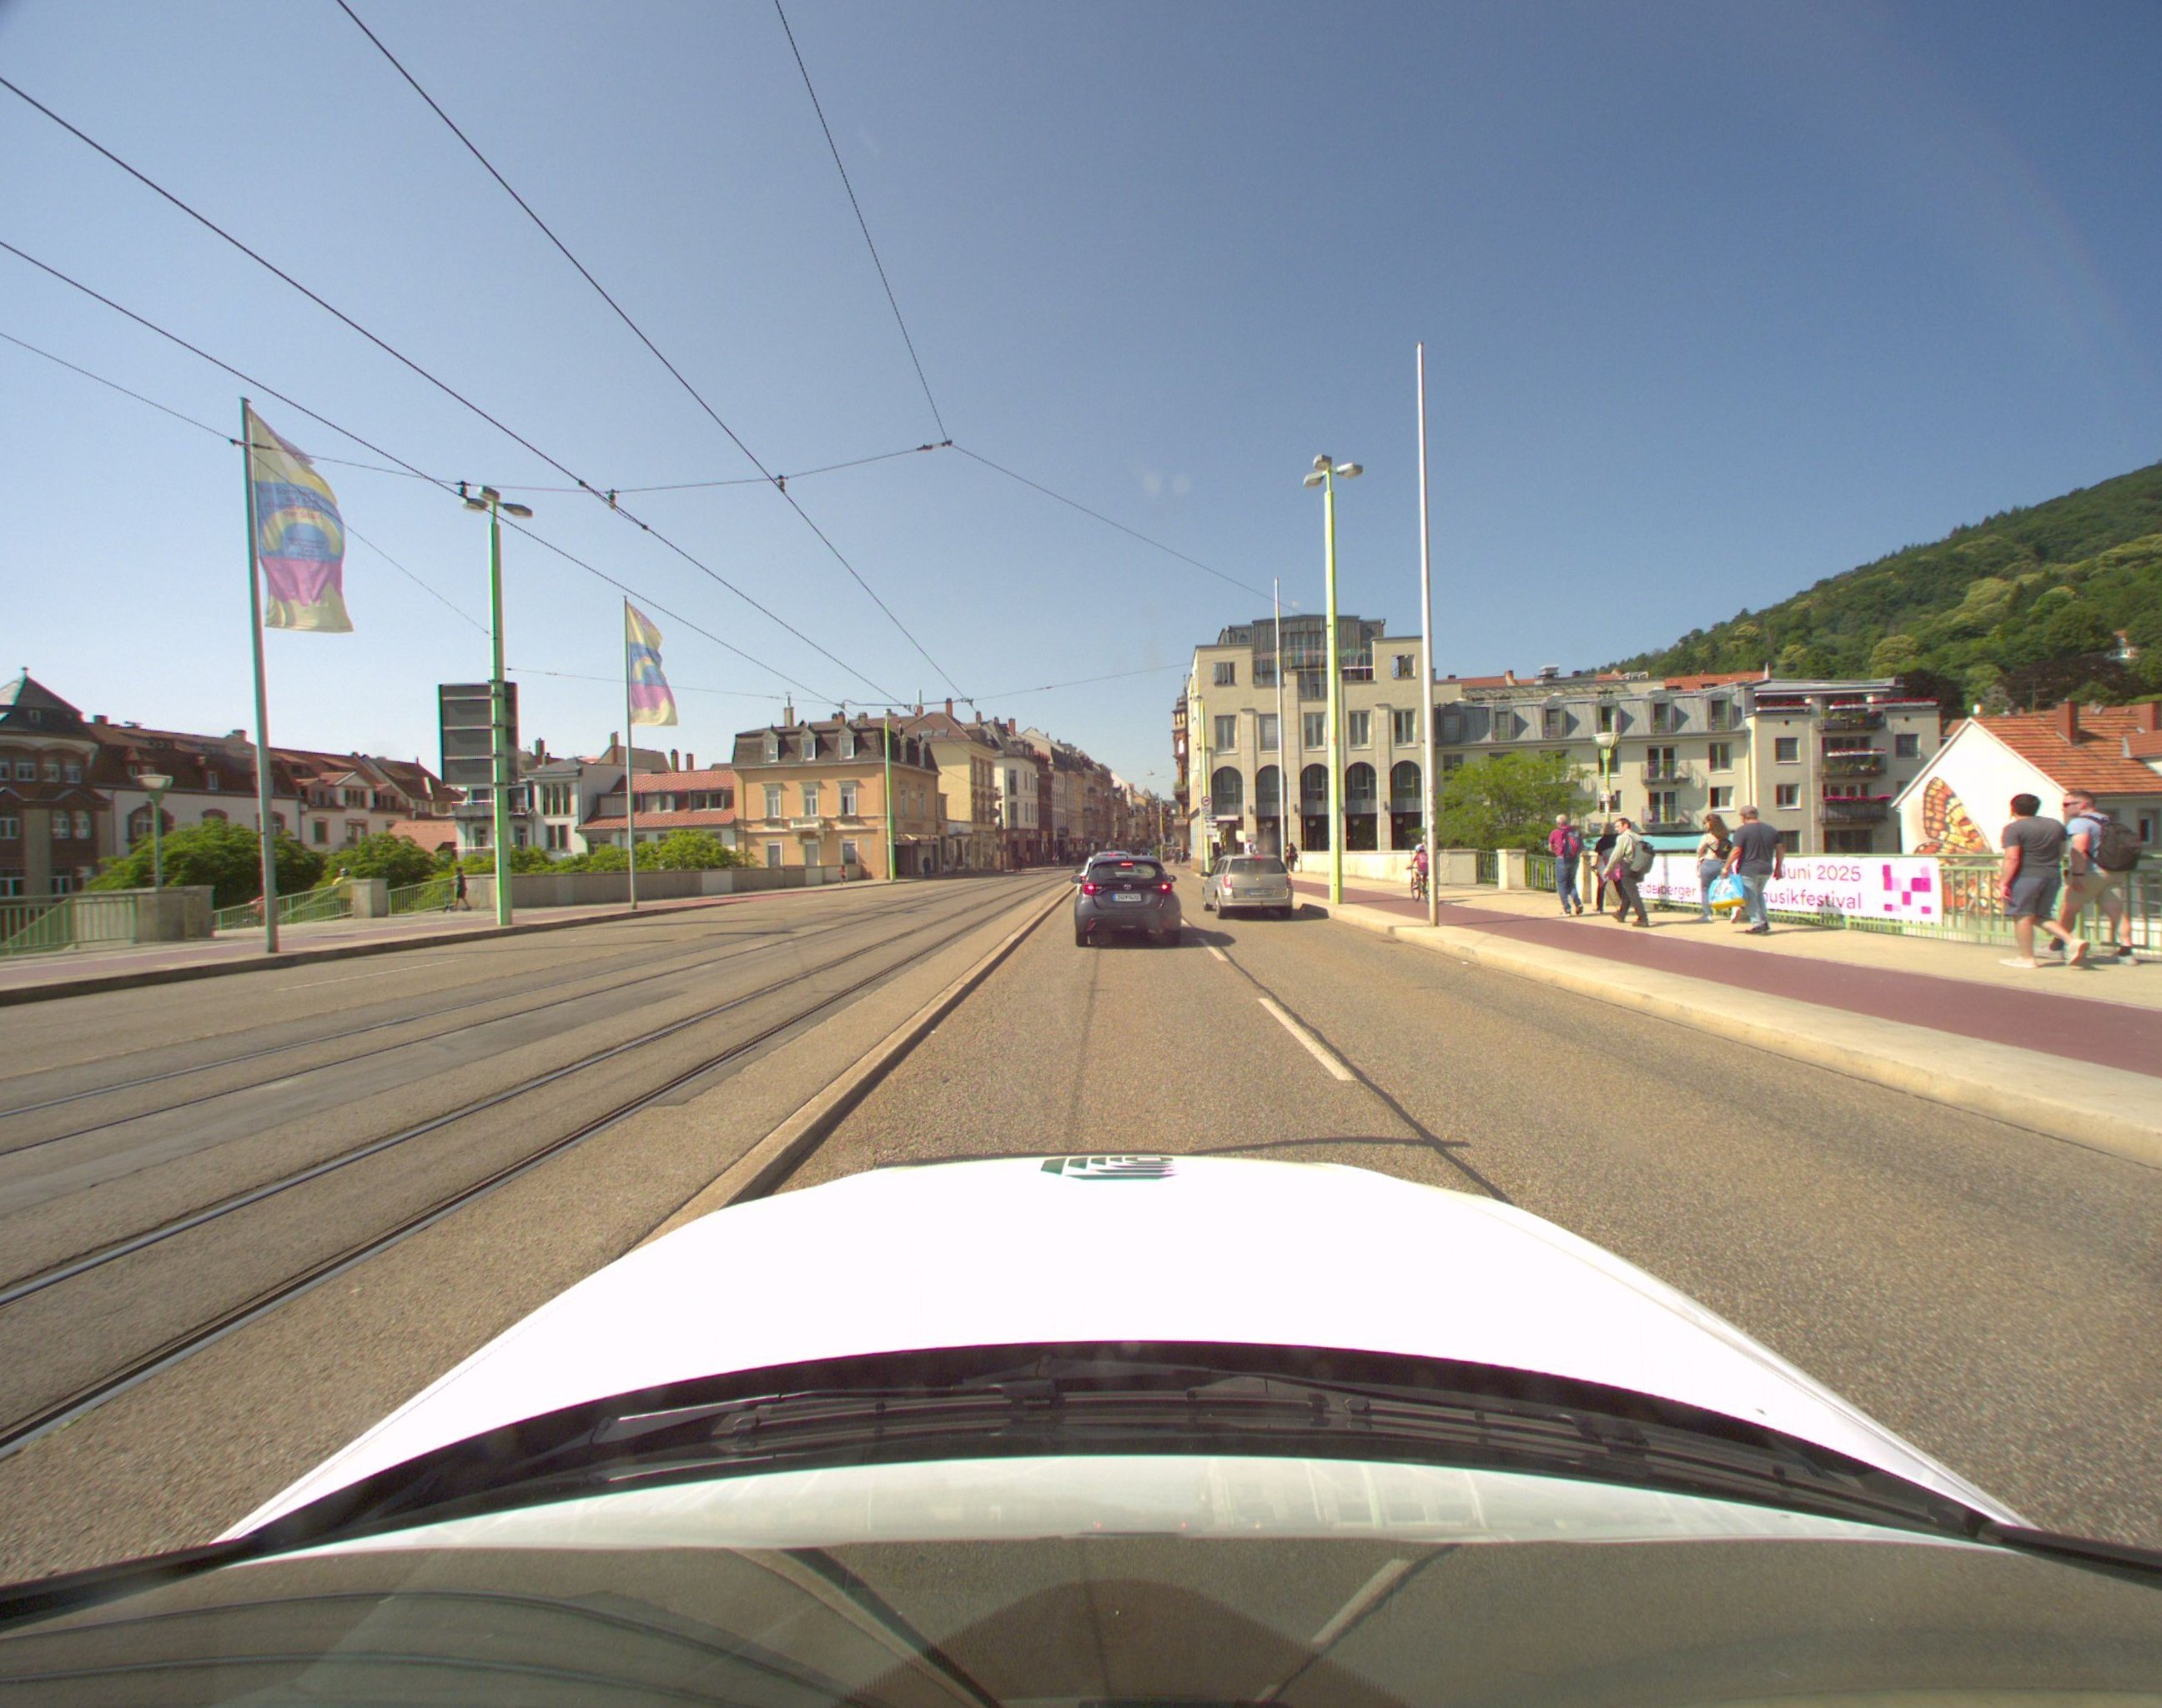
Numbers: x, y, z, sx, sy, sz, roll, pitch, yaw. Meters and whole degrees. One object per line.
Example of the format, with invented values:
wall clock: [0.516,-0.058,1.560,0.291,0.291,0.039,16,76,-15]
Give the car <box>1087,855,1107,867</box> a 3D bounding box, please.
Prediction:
car: [2.014,0.841,103.888,1.719,1.460,4.388,-2,0,12]

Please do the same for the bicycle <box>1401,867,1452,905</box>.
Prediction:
bicycle: [7.923,0.716,18.739,0.512,0.765,1.661,-3,0,2]

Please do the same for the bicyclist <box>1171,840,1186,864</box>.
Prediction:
bicyclist: [10.565,-0.201,88.482,1.228,2.529,1.101,3,0,-10]

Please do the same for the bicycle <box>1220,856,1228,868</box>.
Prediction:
bicycle: [9.495,0.528,54.276,0.414,0.765,1.208,-3,0,6]

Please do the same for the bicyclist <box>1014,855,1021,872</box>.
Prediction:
bicyclist: [-6.047,0.897,77.900,0.625,1.650,0.622,0,1,3]

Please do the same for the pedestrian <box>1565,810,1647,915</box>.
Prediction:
pedestrian: [9.408,0.142,14.634,0.736,1.777,1.016,-3,0,2]

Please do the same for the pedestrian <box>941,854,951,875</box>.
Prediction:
pedestrian: [-10.892,0.820,65.592,0.646,1.602,0.566,3,2,2]

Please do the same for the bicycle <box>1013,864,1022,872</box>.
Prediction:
bicycle: [-6.042,1.371,77.916,0.618,0.716,1.772,0,1,2]

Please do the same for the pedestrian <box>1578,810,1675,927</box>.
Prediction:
pedestrian: [8.579,0.218,12.852,0.751,1.718,1.073,-3,0,2]

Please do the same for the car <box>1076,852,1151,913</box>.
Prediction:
car: [0.889,0.720,22.568,1.890,1.530,4.002,0,0,2]

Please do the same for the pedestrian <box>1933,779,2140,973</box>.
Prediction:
pedestrian: [9.199,0.199,7.897,0.736,1.718,1.016,-3,0,2]

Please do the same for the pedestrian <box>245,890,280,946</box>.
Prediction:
pedestrian: [-24.619,1.919,24.491,0.623,1.632,0.414,1,0,4]

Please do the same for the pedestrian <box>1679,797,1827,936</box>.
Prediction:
pedestrian: [9.232,0.163,11.250,0.974,1.777,1.208,-3,0,2]

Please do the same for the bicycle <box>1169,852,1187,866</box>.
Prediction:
bicycle: [10.544,0.529,88.585,1.111,1.420,2.998,3,0,-9]

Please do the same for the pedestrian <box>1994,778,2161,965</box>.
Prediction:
pedestrian: [9.978,0.157,8.038,0.736,1.718,1.016,-2,0,2]

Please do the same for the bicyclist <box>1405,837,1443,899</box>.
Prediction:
bicyclist: [7.904,0.322,18.770,0.532,1.383,0.669,-3,0,2]

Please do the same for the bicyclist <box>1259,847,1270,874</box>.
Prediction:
bicyclist: [9.554,0.341,42.358,0.420,1.383,0.444,-3,0,2]

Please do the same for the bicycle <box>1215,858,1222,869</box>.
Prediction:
bicycle: [9.892,0.650,58.617,0.414,0.765,0.963,-3,0,5]

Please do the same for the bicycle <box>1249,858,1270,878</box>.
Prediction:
bicycle: [8.229,0.628,37.635,0.701,0.882,1.527,-2,0,3]

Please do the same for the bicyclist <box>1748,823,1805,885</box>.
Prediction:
bicyclist: [19.795,0.009,23.214,0.913,1.695,1.150,-2,0,25]

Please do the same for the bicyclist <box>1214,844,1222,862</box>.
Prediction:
bicyclist: [9.845,-0.050,58.569,0.420,1.256,0.444,-3,0,5]

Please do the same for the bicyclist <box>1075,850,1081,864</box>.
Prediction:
bicyclist: [-0.342,0.380,99.181,0.623,1.650,0.624,0,1,11]

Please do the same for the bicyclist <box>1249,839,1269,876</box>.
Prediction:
bicyclist: [8.206,0.157,37.650,0.699,1.695,0.925,-2,0,3]

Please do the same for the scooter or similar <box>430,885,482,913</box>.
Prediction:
scooter or similar: [-19.231,1.377,25.081,0.774,0.782,0.964,3,0,13]

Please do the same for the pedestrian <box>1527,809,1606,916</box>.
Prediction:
pedestrian: [8.700,0.147,14.631,0.736,1.802,1.016,-3,0,2]

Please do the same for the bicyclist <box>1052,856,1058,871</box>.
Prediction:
bicyclist: [-2.884,1.084,91.256,0.625,1.650,0.622,0,1,3]

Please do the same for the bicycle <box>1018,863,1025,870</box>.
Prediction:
bicycle: [-6.302,1.300,86.269,0.618,0.716,1.772,-1,1,2]

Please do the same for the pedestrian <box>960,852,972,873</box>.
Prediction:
pedestrian: [-9.892,0.746,70.079,0.733,1.766,0.787,3,0,2]

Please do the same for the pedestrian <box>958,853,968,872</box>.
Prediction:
pedestrian: [-10.562,0.764,72.948,0.646,1.602,0.566,3,2,2]

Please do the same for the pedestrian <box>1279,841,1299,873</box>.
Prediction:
pedestrian: [10.955,0.152,42.969,0.736,1.615,1.016,3,0,2]

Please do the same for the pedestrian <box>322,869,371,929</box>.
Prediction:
pedestrian: [-22.739,1.385,25.218,0.741,1.781,0.804,-2,0,9]

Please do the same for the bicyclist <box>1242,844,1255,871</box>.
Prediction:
bicyclist: [9.110,0.196,44.281,0.487,1.466,0.438,-3,0,-37]

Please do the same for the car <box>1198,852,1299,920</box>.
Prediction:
car: [3.943,0.694,19.831,1.699,1.466,4.328,0,0,2]

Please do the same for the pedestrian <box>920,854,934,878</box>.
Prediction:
pedestrian: [-11.029,0.859,58.293,0.758,1.654,0.713,3,0,8]

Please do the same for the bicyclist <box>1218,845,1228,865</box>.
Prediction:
bicyclist: [9.474,0.075,54.263,0.535,1.316,0.673,-3,0,7]

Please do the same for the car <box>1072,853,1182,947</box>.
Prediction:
car: [0.788,0.723,14.673,1.713,1.473,3.660,0,0,2]

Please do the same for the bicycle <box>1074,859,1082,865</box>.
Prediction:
bicycle: [-0.357,0.930,99.185,0.616,0.716,2.051,0,1,12]

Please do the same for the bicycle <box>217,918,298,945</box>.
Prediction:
bicycle: [-24.670,2.311,24.401,1.918,0.716,0.623,0,1,5]

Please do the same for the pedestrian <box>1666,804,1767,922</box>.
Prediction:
pedestrian: [10.012,0.134,12.876,0.736,1.746,1.016,-3,0,2]

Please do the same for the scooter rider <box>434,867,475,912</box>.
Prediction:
scooter rider: [-19.296,1.093,25.077,0.763,1.315,0.600,3,0,13]

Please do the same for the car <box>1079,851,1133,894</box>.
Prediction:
car: [0.952,0.647,30.642,1.890,1.530,4.002,0,0,2]

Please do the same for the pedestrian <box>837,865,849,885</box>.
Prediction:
pedestrian: [-13.895,1.221,47.530,0.410,1.146,0.545,3,0,7]
